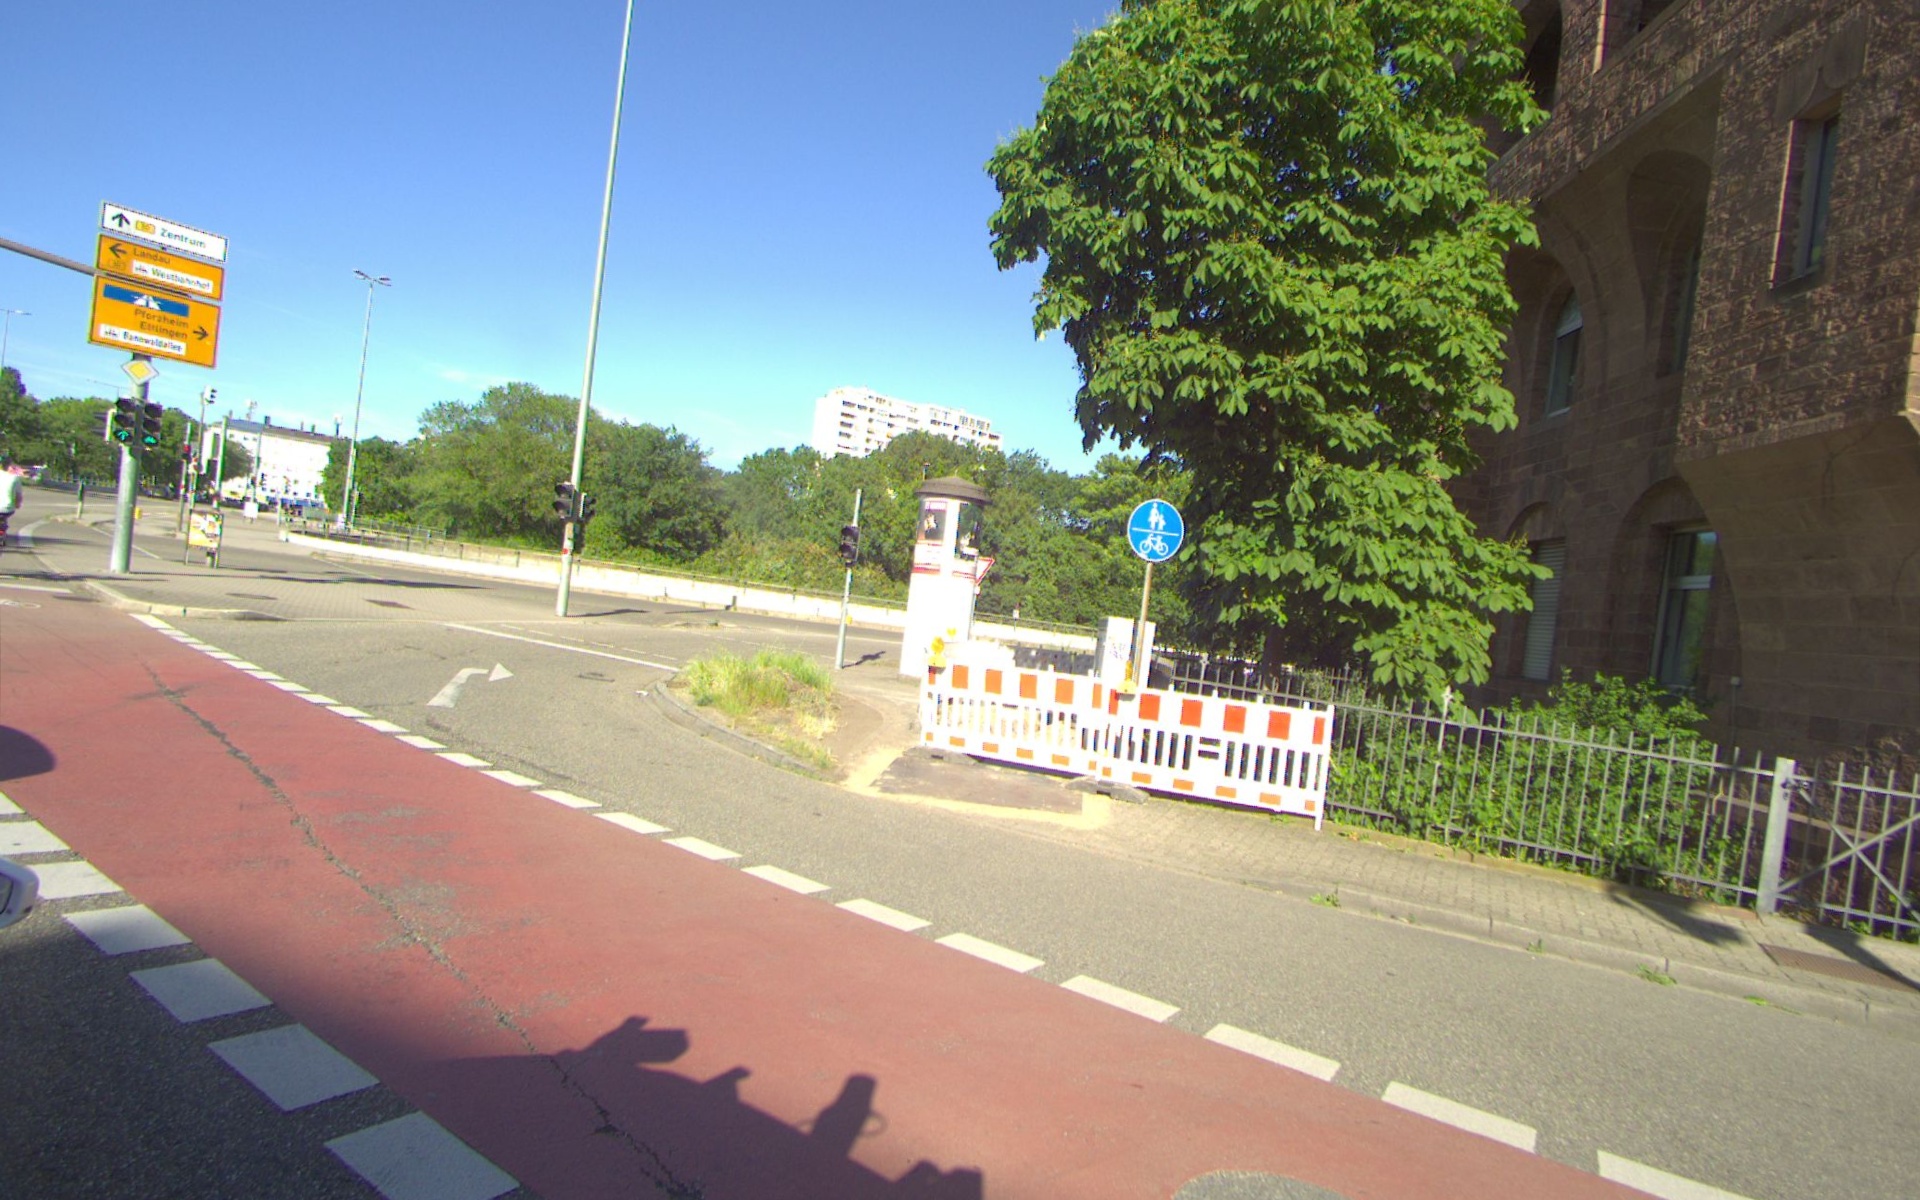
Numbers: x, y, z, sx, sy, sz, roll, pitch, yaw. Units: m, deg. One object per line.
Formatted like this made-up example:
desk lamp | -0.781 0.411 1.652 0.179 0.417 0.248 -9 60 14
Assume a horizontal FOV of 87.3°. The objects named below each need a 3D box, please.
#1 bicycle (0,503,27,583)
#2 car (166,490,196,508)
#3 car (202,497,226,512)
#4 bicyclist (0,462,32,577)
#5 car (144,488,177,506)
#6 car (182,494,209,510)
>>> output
bicycle | -14.892 -0.932 15.389 1.801 1.115 0.690 8 0 43
car | -86.710 -11.233 112.000 1.930 1.547 4.065 7 0 -29
car | -102.238 -13.072 137.890 1.930 1.547 4.065 7 0 -29
bicyclist | -14.806 -1.278 15.347 1.097 1.680 0.723 9 1 42
car | -82.777 -10.647 104.187 1.931 1.547 4.064 7 0 -30
car | -94.562 -12.131 124.465 1.930 1.547 4.065 7 0 -29
